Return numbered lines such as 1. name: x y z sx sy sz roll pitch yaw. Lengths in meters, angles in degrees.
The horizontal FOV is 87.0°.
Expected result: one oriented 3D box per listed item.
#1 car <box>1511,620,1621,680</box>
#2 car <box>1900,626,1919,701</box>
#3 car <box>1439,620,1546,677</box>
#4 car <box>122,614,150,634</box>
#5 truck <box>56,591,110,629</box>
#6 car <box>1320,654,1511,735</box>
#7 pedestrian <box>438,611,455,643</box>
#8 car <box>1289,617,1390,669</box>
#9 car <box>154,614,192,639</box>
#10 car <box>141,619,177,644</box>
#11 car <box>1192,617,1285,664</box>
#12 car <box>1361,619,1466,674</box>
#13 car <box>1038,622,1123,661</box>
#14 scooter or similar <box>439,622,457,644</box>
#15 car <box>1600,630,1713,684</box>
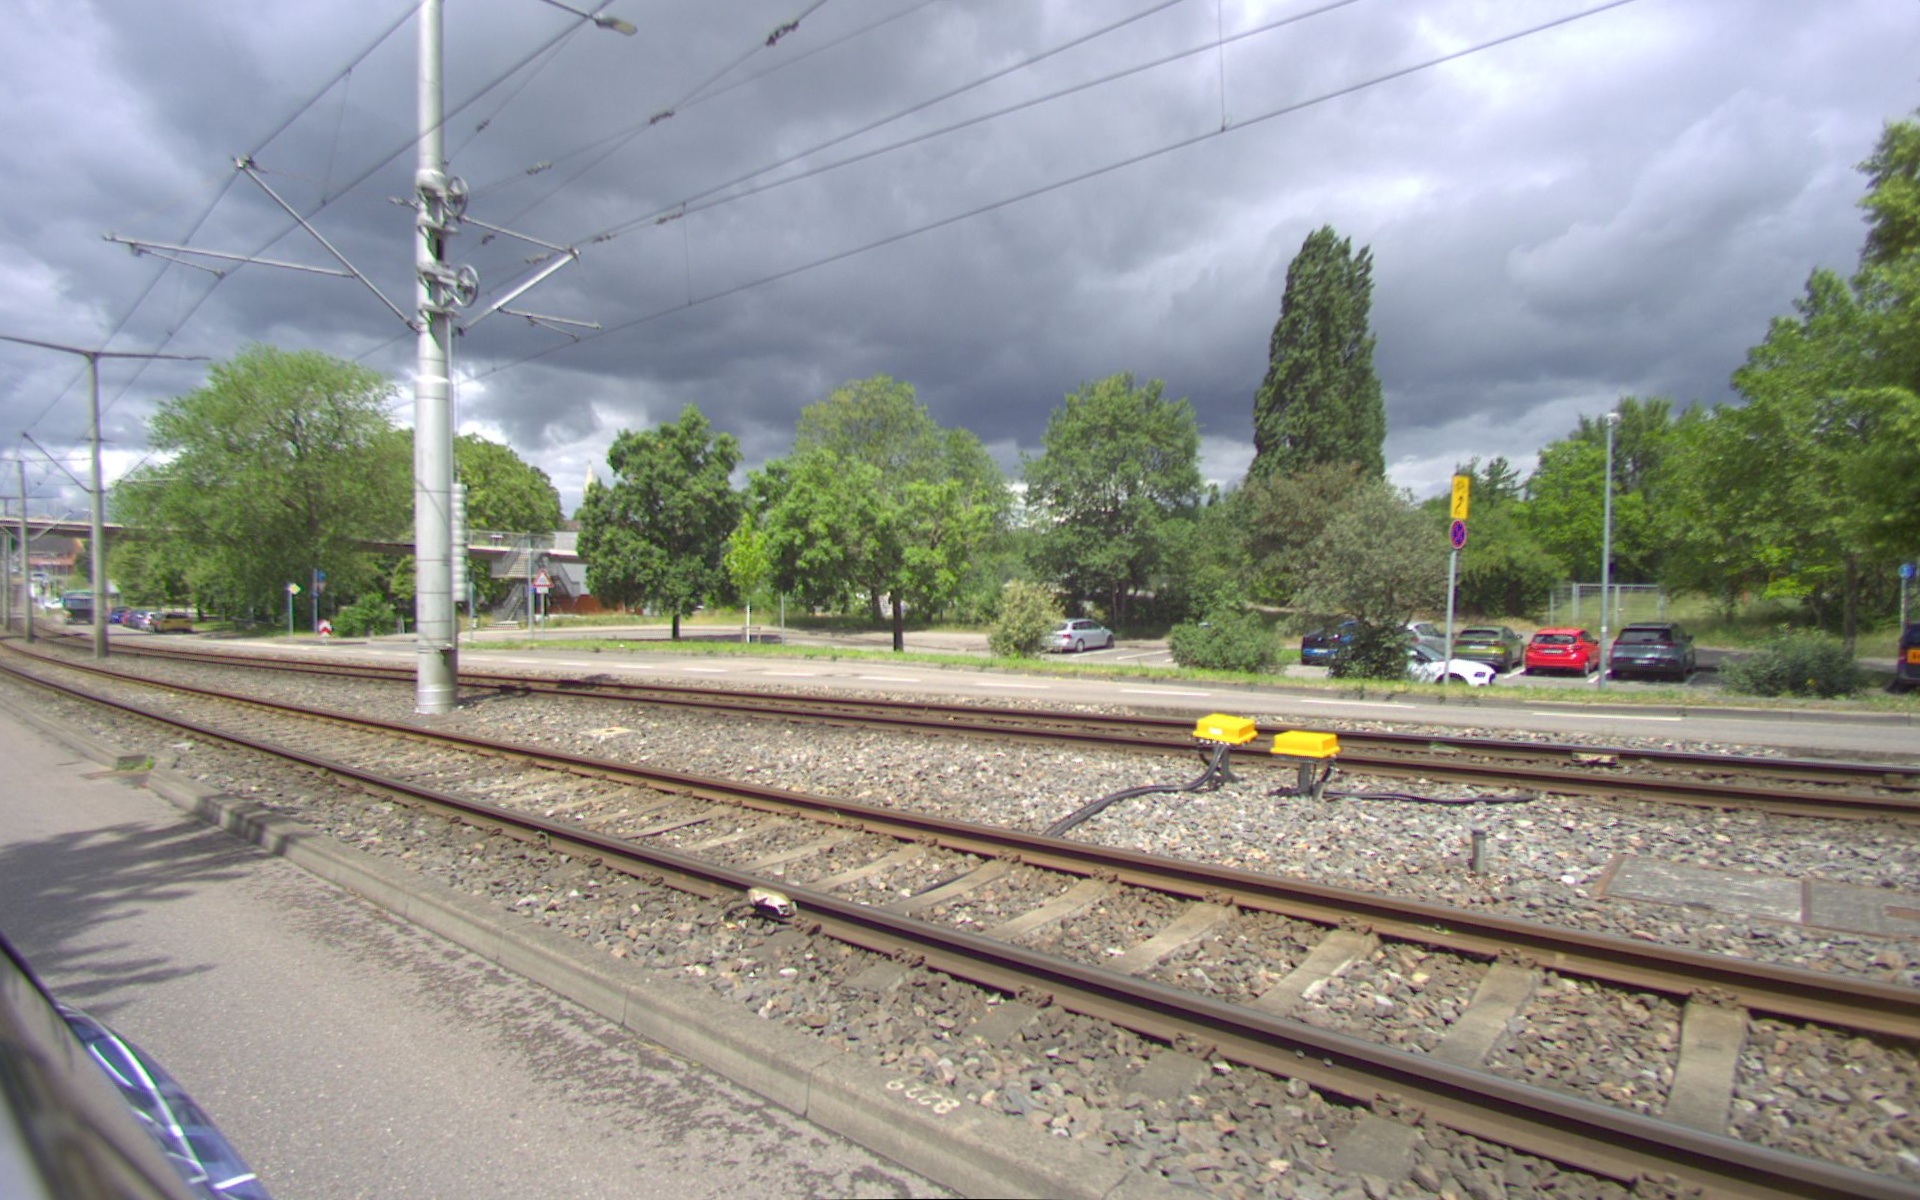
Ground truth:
1. car: 19.493 1.563 32.481 3.908 1.592 1.998 -3 1 -43
2. car: 25.507 1.596 25.751 3.551 1.649 1.954 -3 2 -41
3. car: 17.958 1.573 34.064 3.908 1.592 1.998 -3 1 -43
4. car: -69.473 2.009 85.304 1.539 1.608 4.164 1 -1 -43
5. truck: -83.449 0.865 96.212 9.031 3.344 2.840 1 3 43
6. car: 11.718 2.365 26.156 4.066 1.768 1.970 -2 1 40
7. pedestrian: -29.117 1.511 57.423 0.653 1.768 0.718 -3 3 -43
8. car: 13.907 1.537 36.984 3.908 1.592 1.871 -3 1 -43
9. car: -54.003 1.797 69.421 1.669 1.461 3.902 -3 4 -43
10. car: -57.218 2.216 72.293 1.669 1.461 3.902 -3 4 -43
11. car: 11.179 1.580 40.468 3.871 1.592 1.844 -3 1 -44
12. car: 16.040 1.598 35.728 3.908 1.592 1.995 -3 1 -43
13. car: 5.347 1.787 44.729 3.822 1.401 1.576 -3 3 -42
14. scooter or similar: -28.619 1.838 56.559 0.702 1.155 0.789 -3 3 -42
15. car: 21.214 1.682 30.788 4.034 1.261 1.998 -3 1 -43
